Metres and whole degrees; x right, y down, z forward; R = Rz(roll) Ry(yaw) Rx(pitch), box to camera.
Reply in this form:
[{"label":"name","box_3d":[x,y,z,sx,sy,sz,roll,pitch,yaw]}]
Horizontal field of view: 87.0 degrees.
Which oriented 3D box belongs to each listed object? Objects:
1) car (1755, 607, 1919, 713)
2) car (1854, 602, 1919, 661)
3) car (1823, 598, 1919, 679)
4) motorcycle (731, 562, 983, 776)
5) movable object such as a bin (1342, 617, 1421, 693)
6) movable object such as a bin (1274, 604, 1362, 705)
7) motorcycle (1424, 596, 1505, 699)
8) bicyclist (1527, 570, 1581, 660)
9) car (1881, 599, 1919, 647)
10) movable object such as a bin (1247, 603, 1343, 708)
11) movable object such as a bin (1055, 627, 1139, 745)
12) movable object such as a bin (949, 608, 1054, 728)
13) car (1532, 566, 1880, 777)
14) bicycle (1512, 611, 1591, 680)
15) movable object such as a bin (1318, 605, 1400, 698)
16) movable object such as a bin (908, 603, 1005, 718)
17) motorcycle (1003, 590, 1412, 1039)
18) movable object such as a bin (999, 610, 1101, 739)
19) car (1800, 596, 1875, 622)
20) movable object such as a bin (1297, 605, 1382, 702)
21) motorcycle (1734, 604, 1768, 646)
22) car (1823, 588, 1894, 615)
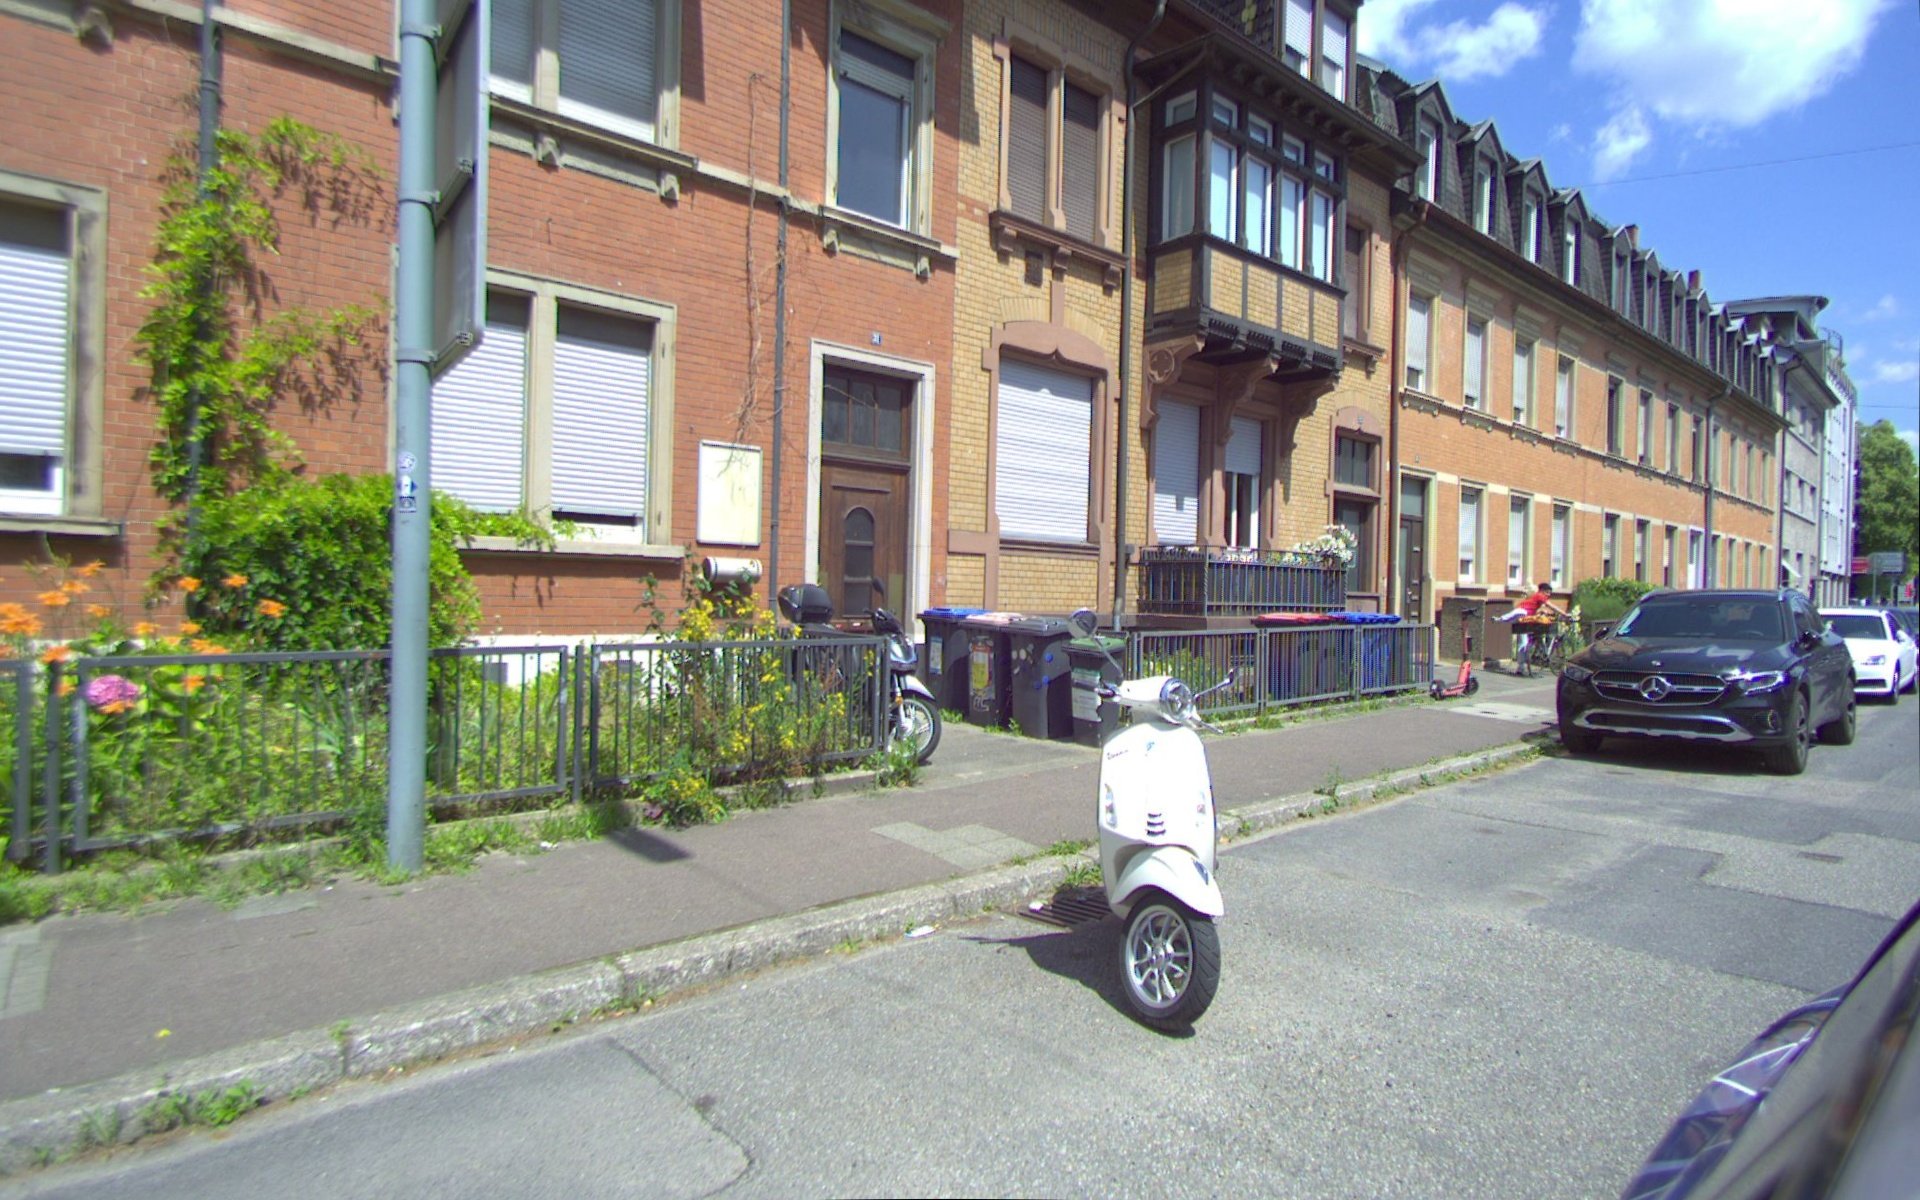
[{"label":"car","box_3d":[14.639,0.869,16.603,4.510,1.432,1.719,0,2,-42]},{"label":"car","box_3d":[24.468,0.767,26.210,4.099,1.398,1.702,0,1,-45]},{"label":"car","box_3d":[18.643,0.703,20.503,1.647,1.432,4.433,1,1,42]},{"label":"motorcycle","box_3d":[-0.904,0.460,8.231,0.921,1.425,2.133,1,3,-42]},{"label":"movable object such as a bin","box_3d":[5.501,0.698,13.214,0.530,0.918,0.788,1,2,-44]},{"label":"movable object such as a bin","box_3d":[4.226,0.620,11.954,0.545,1.102,0.788,1,2,-44]},{"label":"motorcycle","box_3d":[6.580,0.599,13.167,1.335,1.253,0.440,1,2,-43]},{"label":"bicyclist","box_3d":[10.114,0.247,17.232,0.777,1.487,0.533,1,1,-41]},{"label":"car","box_3d":[31.864,0.733,33.475,1.851,1.481,4.485,1,1,40]},{"label":"movable object such as a bin","box_3d":[3.818,0.604,11.529,0.675,1.102,0.788,1,2,-44]},{"label":"movable object such as a bin","box_3d":[1.191,0.730,8.816,0.517,0.953,0.482,1,1,-41]},{"label":"movable object such as a bin","box_3d":[0.394,0.628,9.713,0.735,1.068,0.660,1,1,-41]},{"label":"car","box_3d":[7.871,0.565,10.501,4.545,1.682,1.997,0,2,-42]},{"label":"bicycle","box_3d":[10.027,0.741,17.126,1.850,1.079,0.594,0,2,-42]},{"label":"movable object such as a bin","box_3d":[5.030,0.629,12.765,0.530,1.102,0.788,1,2,-44]},{"label":"movable object such as a bin","box_3d":[-0.033,0.583,10.224,0.748,1.090,0.610,1,1,-41]},{"label":"motorcycle","box_3d":[0.837,0.676,4.223,1.091,1.403,1.998,1,1,-3]},{"label":"movable object such as a bin","box_3d":[0.821,0.651,9.219,0.714,1.089,0.558,1,1,-41]},{"label":"car","box_3d":[62.986,0.620,72.668,1.984,1.772,3.989,0,1,-45]},{"label":"movable object such as a bin","box_3d":[4.634,0.636,12.360,0.534,1.102,0.788,1,2,-44]},{"label":"motorcycle","box_3d":[24.387,0.767,31.186,1.338,1.240,0.596,0,1,-43]},{"label":"car","box_3d":[79.515,0.114,89.617,2.071,2.305,4.606,1,0,-44]}]
